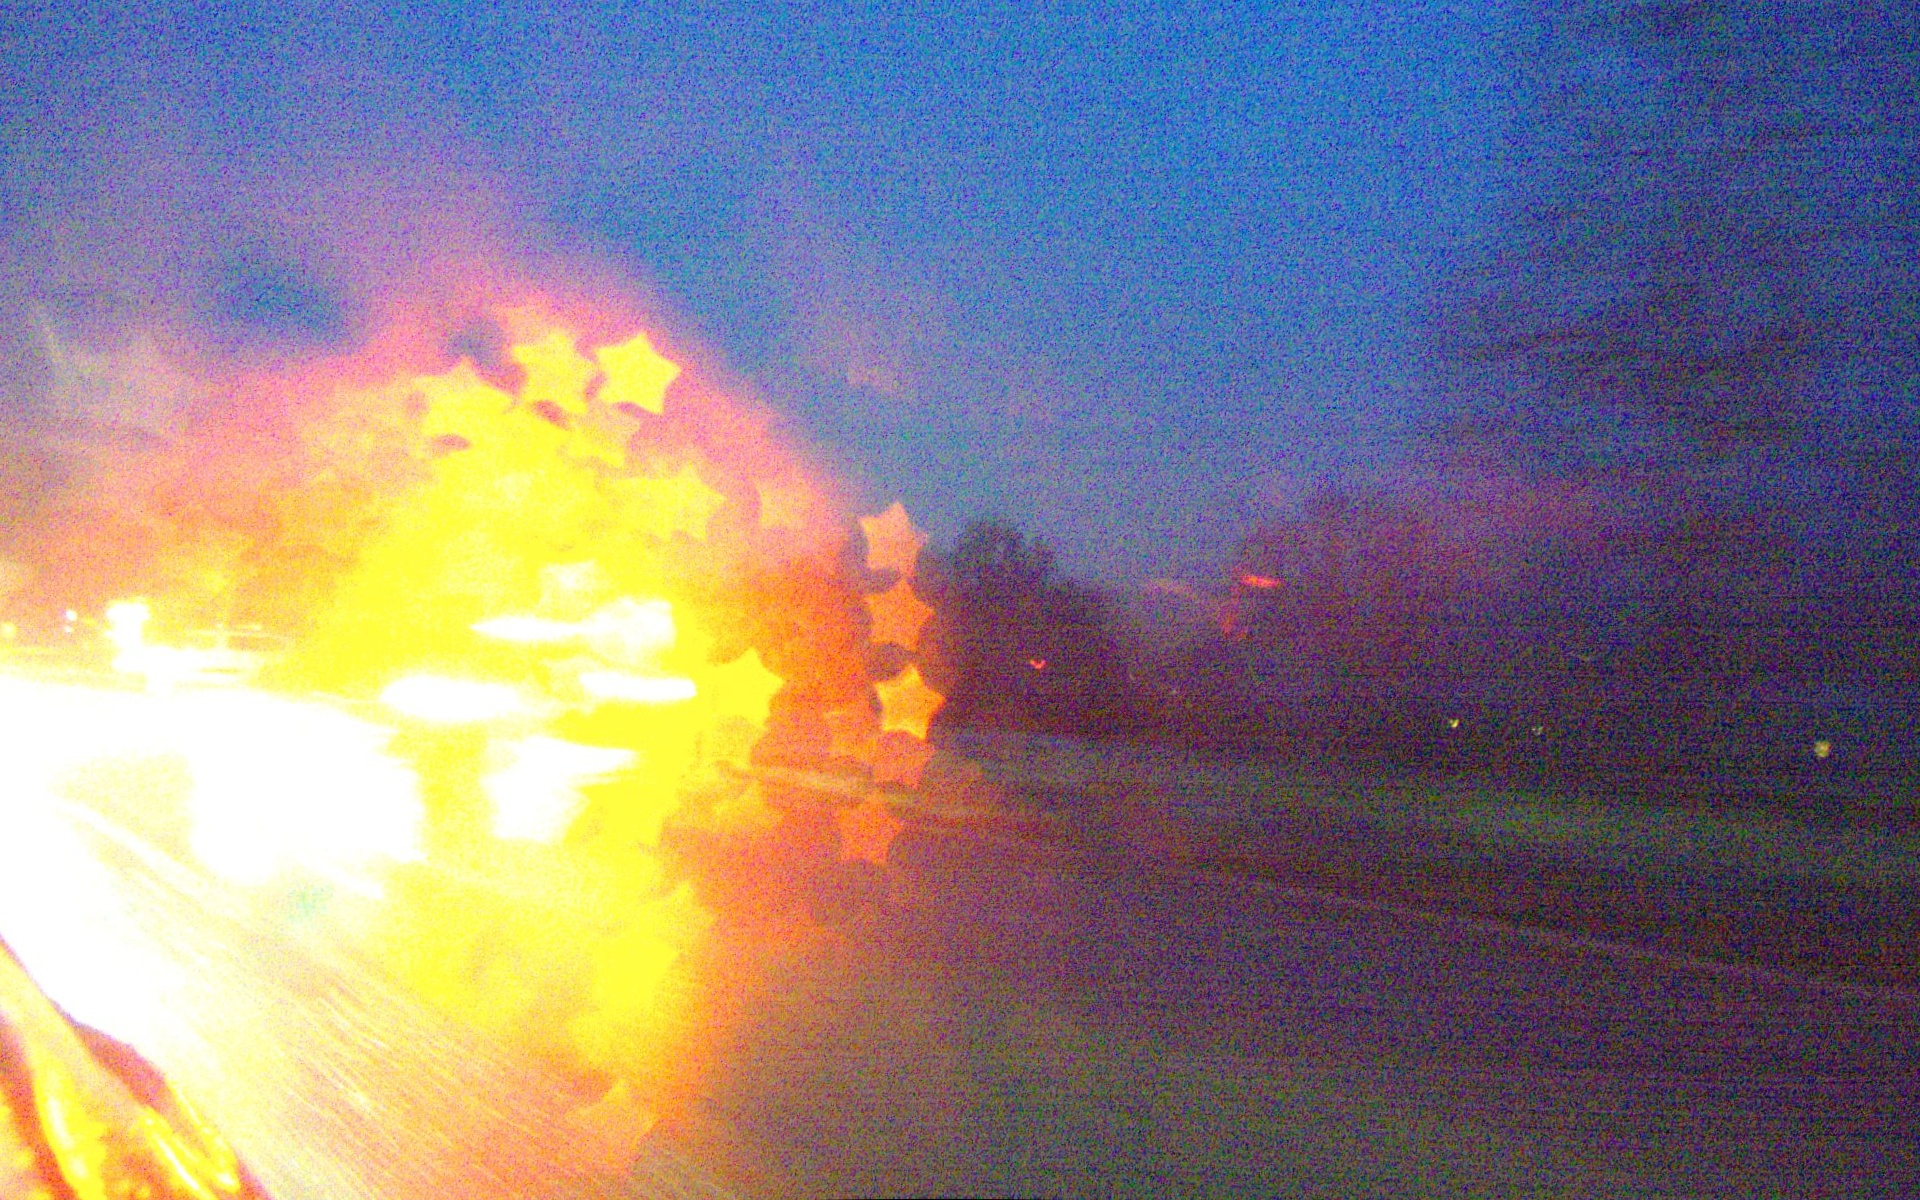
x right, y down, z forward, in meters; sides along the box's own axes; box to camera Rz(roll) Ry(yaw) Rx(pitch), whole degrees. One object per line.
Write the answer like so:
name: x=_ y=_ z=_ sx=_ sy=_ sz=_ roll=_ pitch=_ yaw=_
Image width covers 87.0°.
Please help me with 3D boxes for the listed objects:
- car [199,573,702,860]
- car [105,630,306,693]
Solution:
car: x=-3.908 y=0.707 z=7.484 sx=4.142 sy=1.554 sz=1.748 roll=-2 pitch=-3 yaw=38
car: x=-24.685 y=2.067 z=33.278 sx=1.933 sy=1.852 sz=4.882 roll=-2 pitch=-6 yaw=41
